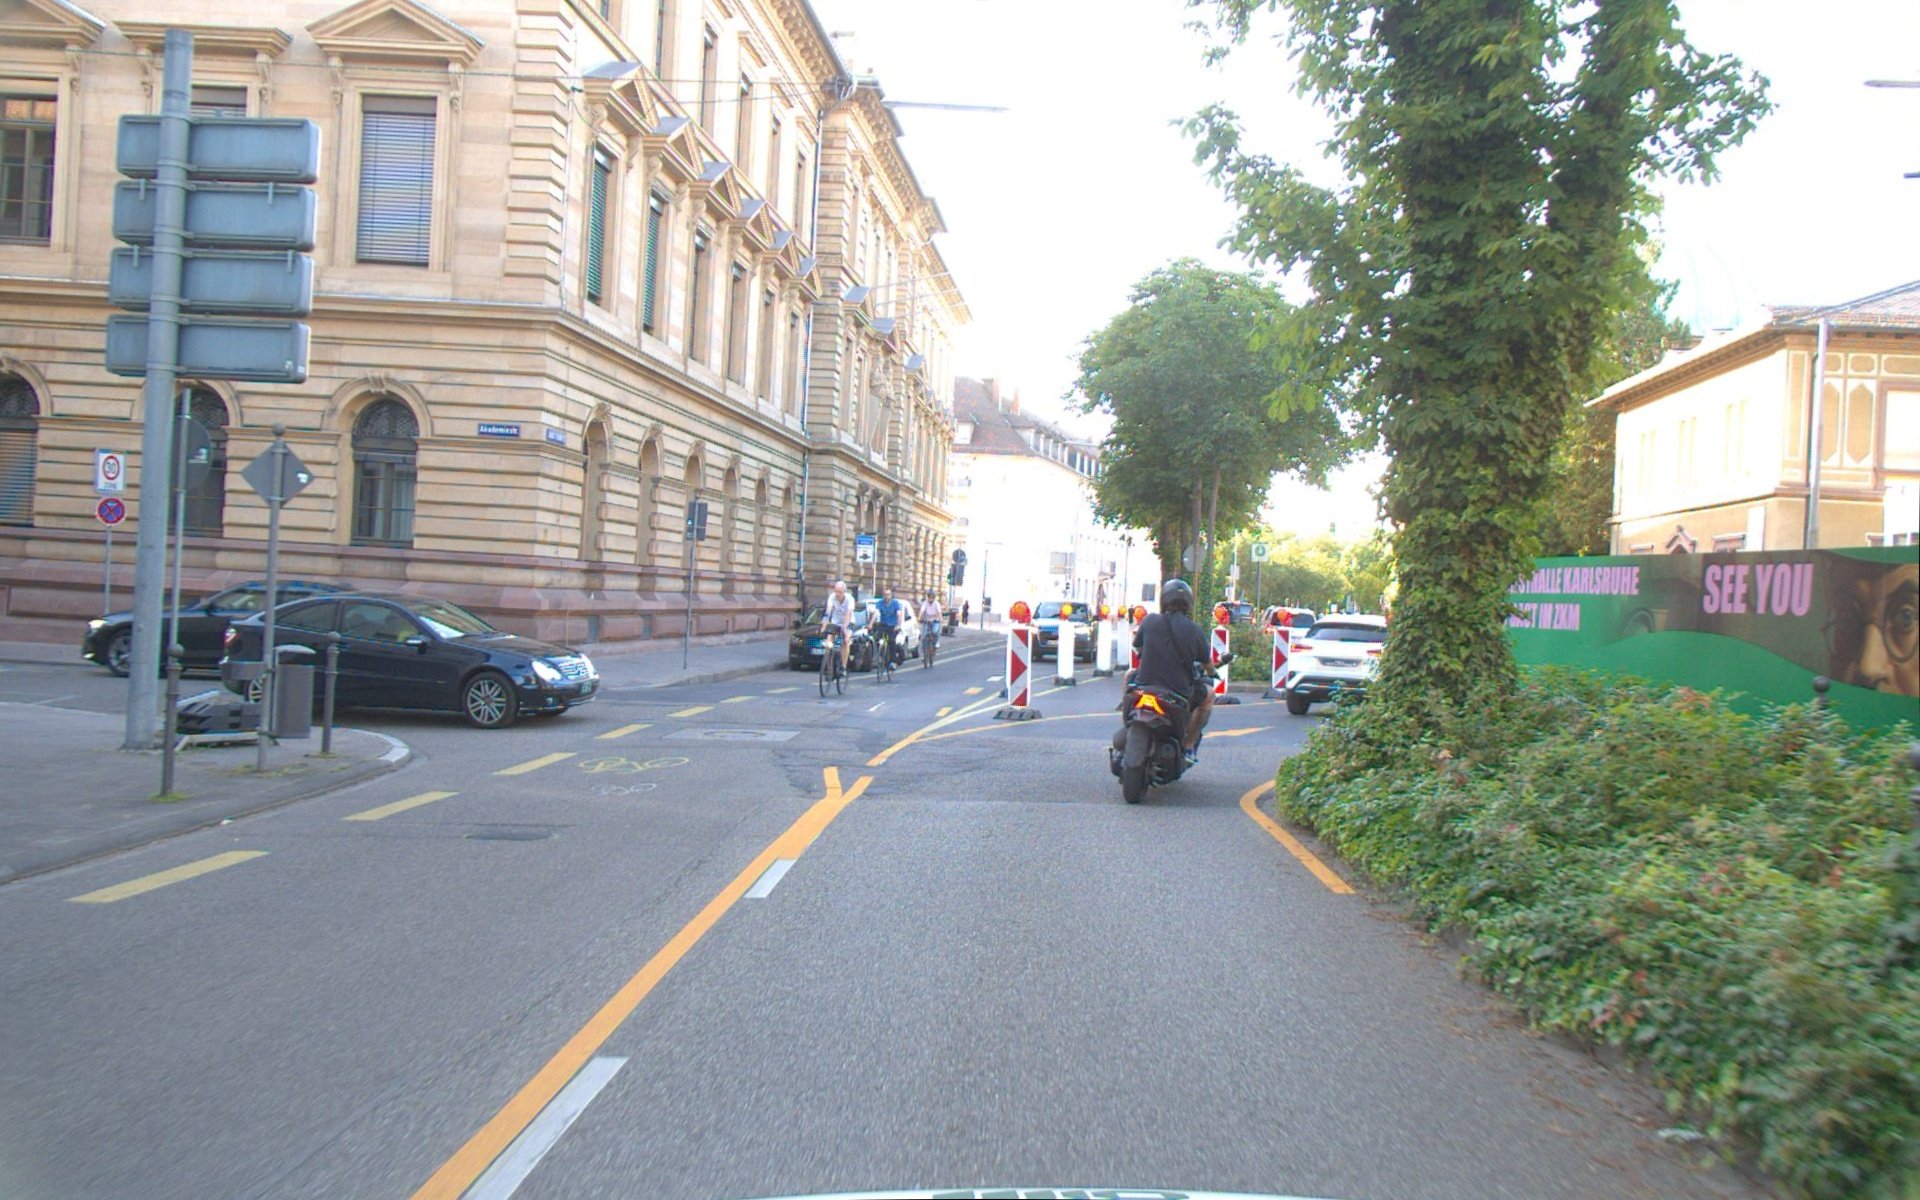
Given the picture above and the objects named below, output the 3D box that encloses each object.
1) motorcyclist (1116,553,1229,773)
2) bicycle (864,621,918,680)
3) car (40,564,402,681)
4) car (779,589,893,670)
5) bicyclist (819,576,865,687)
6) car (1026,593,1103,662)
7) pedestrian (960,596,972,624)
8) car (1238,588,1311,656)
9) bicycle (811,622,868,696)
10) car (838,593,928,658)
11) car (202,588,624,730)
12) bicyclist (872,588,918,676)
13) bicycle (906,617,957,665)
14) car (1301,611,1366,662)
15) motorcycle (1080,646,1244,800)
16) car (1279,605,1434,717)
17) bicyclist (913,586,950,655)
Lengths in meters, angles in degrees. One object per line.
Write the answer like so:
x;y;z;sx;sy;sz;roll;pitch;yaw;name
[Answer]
1.714;0.495;13.303;0.644;1.679;0.650;4;0;25;motorcyclist
-1.304;0.950;31.499;0.521;1.053;1.908;2;0;12;bicycle
-10.241;0.320;23.277;4.382;1.486;1.768;2;0;-16;car
-2.640;0.606;36.214;1.952;1.594;4.290;2;0;2;car
-1.847;0.487;25.930;0.554;1.696;0.835;2;0;5;bicyclist
2.816;0.715;45.386;1.952;1.724;4.400;2;0;2;car
0.352;0.564;95.308;0.651;1.580;0.650;2;0;2;pedestrian
9.967;0.687;52.650;1.802;1.945;4.060;4;0;5;car
-1.860;0.896;25.845;0.571;1.053;2.130;2;0;4;bicycle
-1.971;0.636;43.594;1.952;1.555;4.185;2;0;2;car
-6.222;0.636;19.051;4.222;1.414;1.777;2;0;7;car
-1.235;0.598;31.520;0.615;1.642;0.870;2;0;12;bicyclist
-0.646;0.944;38.390;0.522;1.053;2.037;2;0;18;bicycle
13.937;1.345;61.923;1.802;1.728;4.060;4;0;5;car
1.639;0.937;13.162;0.781;1.084;1.724;4;0;24;motorcycle
6.103;0.849;25.140;1.812;1.506;4.058;1;0;20;car
-0.657;0.476;38.444;0.615;1.581;0.732;2;0;18;bicyclist
